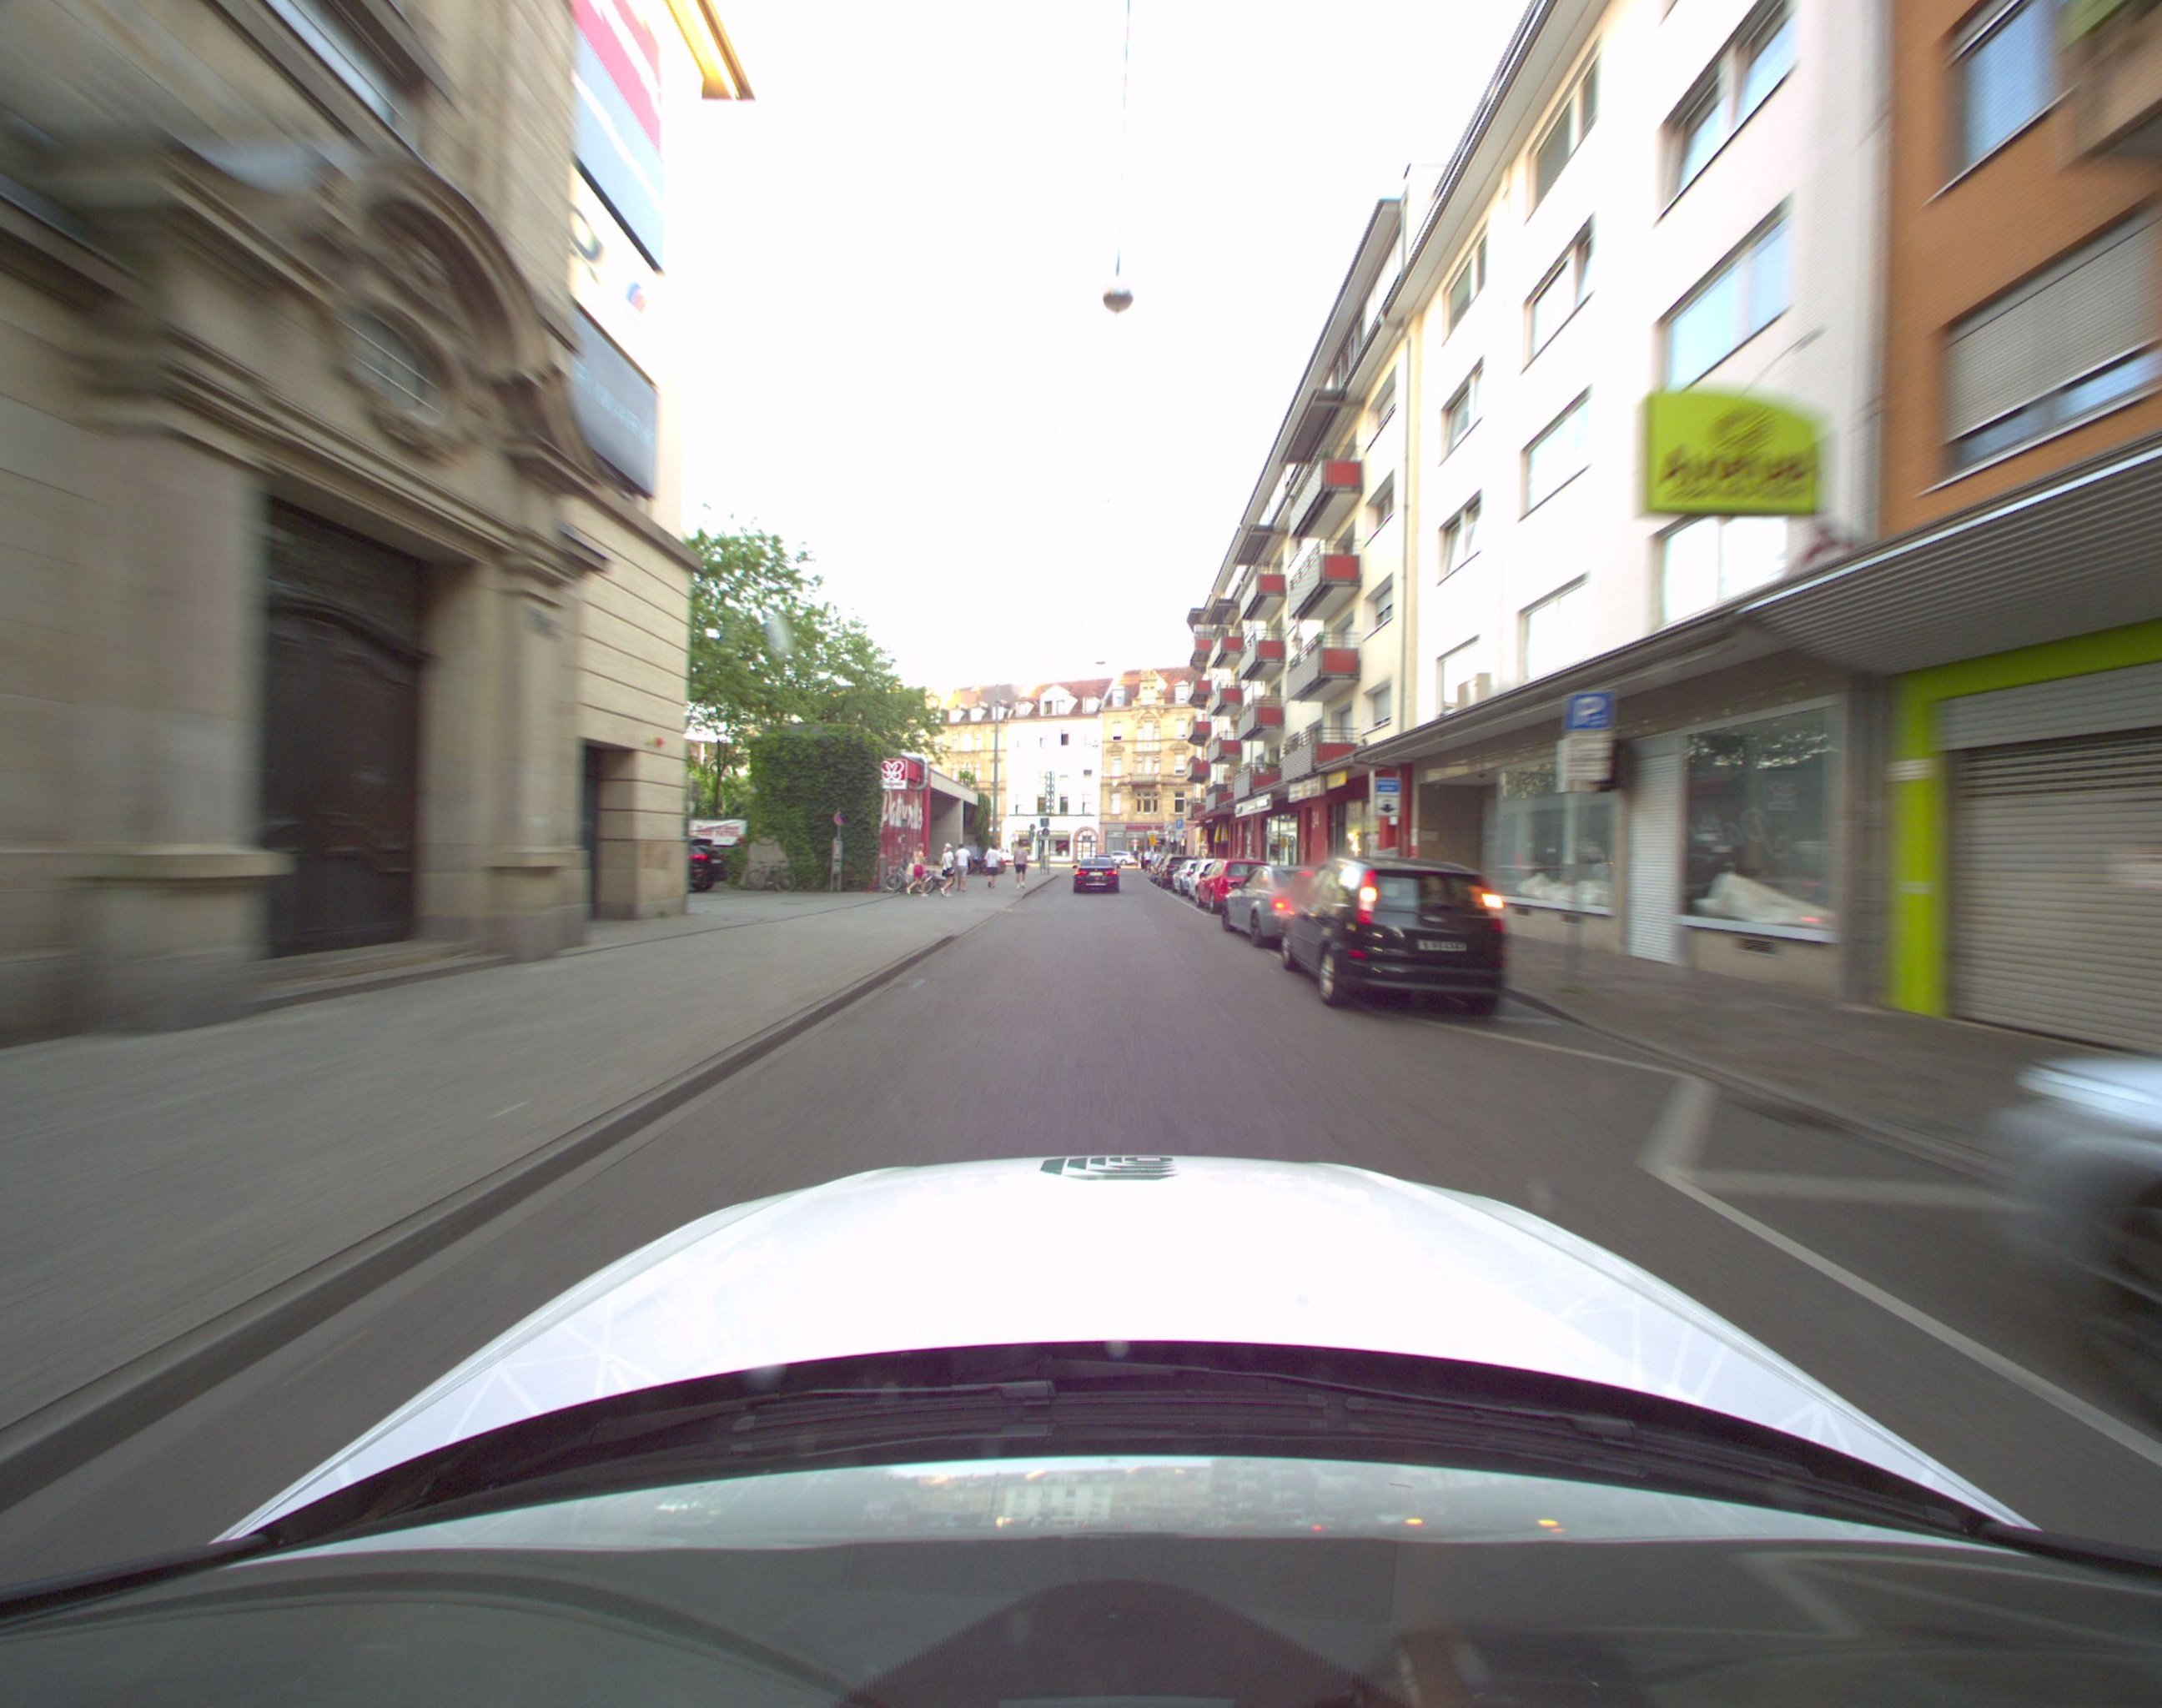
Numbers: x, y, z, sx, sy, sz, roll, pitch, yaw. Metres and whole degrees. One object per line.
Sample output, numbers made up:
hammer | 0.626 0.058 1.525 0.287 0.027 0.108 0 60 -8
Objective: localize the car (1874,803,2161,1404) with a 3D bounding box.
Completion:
car | 3.853 0.750 0.705 1.745 1.668 4.759 3 1 2

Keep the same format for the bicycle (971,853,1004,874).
bicycle | -5.469 0.545 47.522 1.786 1.107 0.500 2 0 3

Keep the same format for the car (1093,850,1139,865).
car | 3.616 0.366 83.583 4.313 1.562 1.879 0 -1 23

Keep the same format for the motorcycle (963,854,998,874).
motorcycle | -5.632 0.564 45.496 1.783 1.064 0.769 2 0 27

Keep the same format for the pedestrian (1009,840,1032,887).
pedestrian | -2.472 0.379 33.284 0.741 1.893 1.051 2 0 2

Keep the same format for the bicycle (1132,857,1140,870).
bicycle | 4.800 0.820 70.600 0.533 1.107 1.805 1 0 9

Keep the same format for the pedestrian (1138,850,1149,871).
pedestrian | 4.890 0.509 63.980 0.724 1.609 0.648 2 0 -8

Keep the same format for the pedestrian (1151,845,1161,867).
pedestrian | 5.961 0.144 64.753 0.599 1.746 0.673 0 0 21

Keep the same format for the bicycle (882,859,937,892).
bicycle | -5.989 0.736 28.536 1.788 1.107 0.500 1 0 0

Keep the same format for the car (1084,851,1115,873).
car | 1.312 0.522 56.062 1.868 1.473 4.006 0 1 5

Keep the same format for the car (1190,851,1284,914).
car | 4.309 0.721 23.194 1.707 1.512 4.651 3 1 0

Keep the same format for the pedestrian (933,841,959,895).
pedestrian | -4.450 0.454 26.870 0.647 1.750 0.986 1 0 1

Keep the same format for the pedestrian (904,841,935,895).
pedestrian | -5.335 0.446 26.930 0.750 1.749 0.847 2 0 1

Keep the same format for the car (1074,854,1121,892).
car | 0.693 0.713 33.374 1.758 1.375 4.793 1 1 2

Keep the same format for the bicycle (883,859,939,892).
bicycle | -5.869 0.744 28.188 1.788 1.107 0.500 1 0 1

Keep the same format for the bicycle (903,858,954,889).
bicycle | -5.756 0.718 30.710 1.786 1.107 0.501 2 0 4

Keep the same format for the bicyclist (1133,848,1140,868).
bicyclist | 4.812 0.332 70.577 0.520 1.756 0.621 1 0 9

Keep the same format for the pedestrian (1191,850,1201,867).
pedestrian | 7.921 0.309 56.193 0.421 1.201 0.531 -2 0 -42

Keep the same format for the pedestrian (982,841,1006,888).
pedestrian | -3.501 0.417 32.733 0.738 1.812 1.009 3 0 1

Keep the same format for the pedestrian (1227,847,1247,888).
pedestrian | 6.489 0.571 33.890 0.645 1.661 0.655 -2 0 3

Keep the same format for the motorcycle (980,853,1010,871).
motorcycle | -5.448 0.510 51.529 1.757 1.101 0.561 2 0 -33

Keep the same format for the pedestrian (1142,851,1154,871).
pedestrian | 5.212 0.549 63.301 0.735 1.513 0.648 2 0 -8

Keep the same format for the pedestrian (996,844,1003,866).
pedestrian | -6.123 0.038 61.171 0.498 1.643 0.521 0 0 3

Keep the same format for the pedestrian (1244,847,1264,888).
pedestrian | 7.190 0.574 33.865 0.645 1.661 0.794 -2 0 3

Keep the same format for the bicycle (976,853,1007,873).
bicycle | -5.374 0.539 48.974 1.789 1.107 0.500 2 0 -2

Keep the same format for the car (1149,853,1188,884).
car | 4.802 0.738 45.336 1.758 1.502 4.793 3 1 2

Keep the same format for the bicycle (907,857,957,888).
bicycle | -5.724 0.712 31.342 1.786 1.107 0.501 2 0 4

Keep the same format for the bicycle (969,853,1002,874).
bicycle | -5.479 0.540 46.927 1.788 1.107 0.500 2 0 0

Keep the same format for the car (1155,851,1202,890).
car | 4.664 0.727 39.444 1.758 1.642 4.792 3 1 1

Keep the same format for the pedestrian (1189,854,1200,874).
pedestrian | 7.413 0.647 53.107 0.683 1.286 0.610 -1 -1 10

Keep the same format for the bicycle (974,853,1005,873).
bicycle | -5.430 0.546 48.271 1.790 1.107 0.499 2 0 -4

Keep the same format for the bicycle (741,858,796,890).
bicycle | -10.235 0.657 26.660 1.653 1.013 0.371 1 0 2

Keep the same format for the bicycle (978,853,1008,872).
bicycle | -5.397 0.535 49.987 1.788 1.107 0.500 2 0 1

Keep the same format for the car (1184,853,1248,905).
car | 4.530 0.796 27.727 1.600 1.512 4.051 3 1 2

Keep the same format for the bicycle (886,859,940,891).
bicycle | -5.979 0.739 29.072 1.788 1.107 0.500 1 0 0

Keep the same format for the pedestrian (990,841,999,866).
pedestrian | -6.577 -0.034 61.769 0.580 1.882 0.635 0 0 7

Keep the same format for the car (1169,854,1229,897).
car | 4.671 0.813 32.904 1.693 1.452 4.457 3 1 0

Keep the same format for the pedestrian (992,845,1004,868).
pedestrian | -6.386 0.159 62.523 0.665 1.746 0.661 0 0 41

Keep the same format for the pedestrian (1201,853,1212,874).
pedestrian | 8.236 0.624 53.449 0.604 1.348 0.696 -1 0 0

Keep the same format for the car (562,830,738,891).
car | -12.968 0.165 24.685 4.202 1.760 2.068 0 0 3

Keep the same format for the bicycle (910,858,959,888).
bicycle | -5.720 0.722 31.812 1.786 1.107 0.501 2 0 4

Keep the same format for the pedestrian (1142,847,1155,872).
pedestrian | 5.080 0.434 61.548 0.681 1.877 0.693 1 0 -36

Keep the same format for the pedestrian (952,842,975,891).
pedestrian | -4.336 0.454 30.027 0.714 1.754 0.848 1 0 0

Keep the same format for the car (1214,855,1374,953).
car | 3.783 0.809 15.334 1.731 1.415 4.681 3 1 0

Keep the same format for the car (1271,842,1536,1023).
car | 3.567 0.720 9.959 1.785 1.609 4.494 3 1 6

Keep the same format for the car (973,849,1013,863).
car | -9.661 0.258 89.654 3.951 1.510 1.810 0 -1 23
